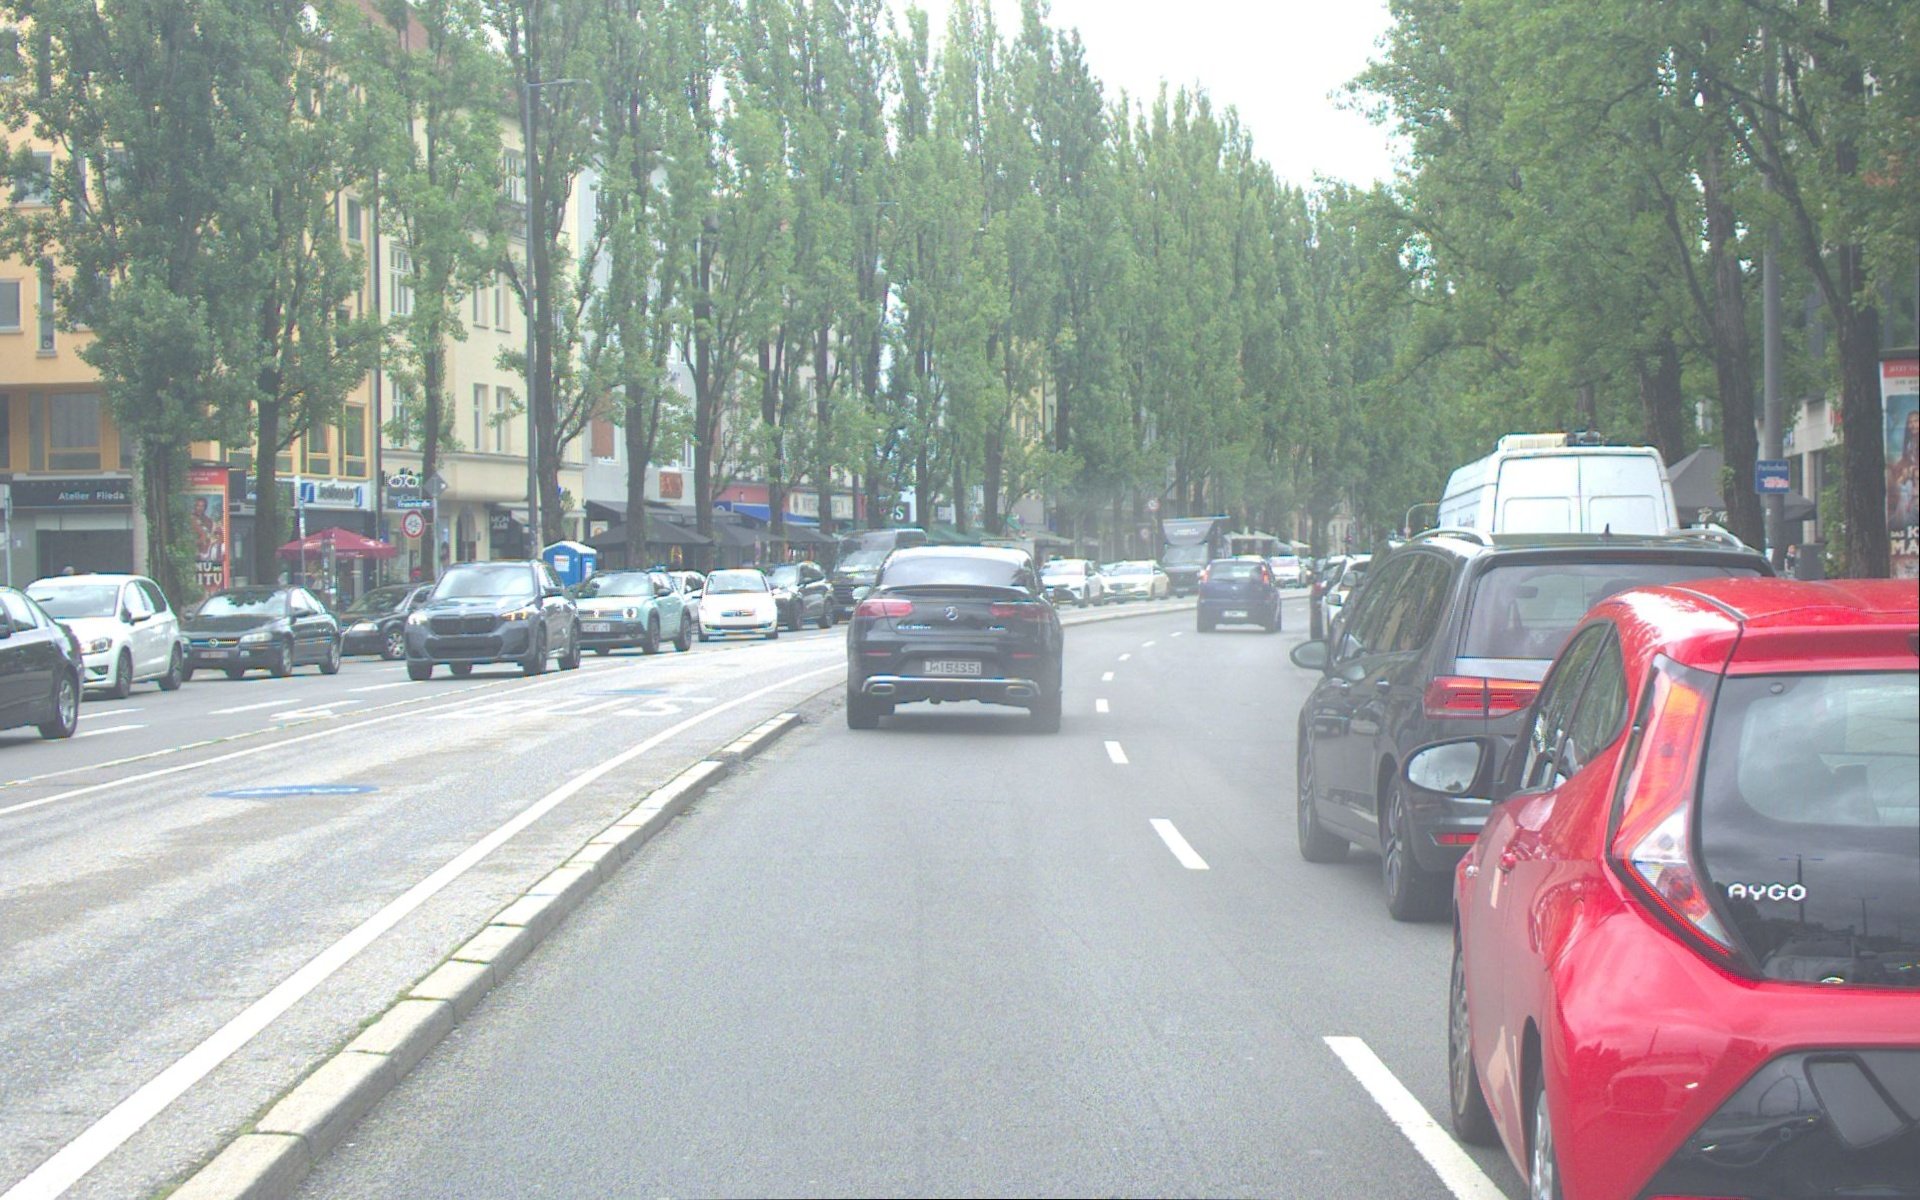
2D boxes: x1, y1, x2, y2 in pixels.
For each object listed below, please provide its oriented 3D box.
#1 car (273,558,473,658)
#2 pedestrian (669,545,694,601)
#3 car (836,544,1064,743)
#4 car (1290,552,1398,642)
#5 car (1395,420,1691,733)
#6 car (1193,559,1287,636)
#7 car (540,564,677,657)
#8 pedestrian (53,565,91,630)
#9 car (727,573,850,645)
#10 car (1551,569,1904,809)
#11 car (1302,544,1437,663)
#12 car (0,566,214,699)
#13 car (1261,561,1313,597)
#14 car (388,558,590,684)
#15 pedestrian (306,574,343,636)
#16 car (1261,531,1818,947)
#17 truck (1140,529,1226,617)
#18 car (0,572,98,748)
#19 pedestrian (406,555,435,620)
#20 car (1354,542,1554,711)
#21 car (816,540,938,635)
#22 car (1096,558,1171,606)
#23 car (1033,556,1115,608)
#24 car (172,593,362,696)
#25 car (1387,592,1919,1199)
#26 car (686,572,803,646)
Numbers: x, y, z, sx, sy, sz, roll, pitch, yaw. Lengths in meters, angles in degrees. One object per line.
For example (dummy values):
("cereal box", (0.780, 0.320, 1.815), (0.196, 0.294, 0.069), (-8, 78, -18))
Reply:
("car", (-11.062, 0.155, 65.047), (1.758, 1.809, 3.995), (1, 0, 24))
("pedestrian", (-9.297, -0.902, 114.693), (0.638, 1.855, 0.647), (-1, 1, 13))
("car", (-0.068, 0.334, 30.994), (1.880, 1.636, 4.583), (-1, 1, 0))
("car", (7.582, -0.058, 67.543), (1.925, 1.694, 4.648), (1, 0, 8))
("car", (5.493, -0.210, 33.098), (1.993, 2.732, 5.554), (1, 0, 1))
("car", (6.108, -0.056, 74.586), (1.760, 1.614, 3.745), (1, 0, 9))
("car", (-6.373, 0.167, 62.774), (1.817, 1.540, 4.000), (-3, 1, 3))
("pedestrian", (-19.708, -0.067, 76.336), (0.632, 1.430, 0.778), (-1, 1, -1))
("car", (-4.274, 0.211, 86.435), (2.019, 1.710, 4.980), (-1, 1, 10))
("car", (5.192, 0.542, 23.738), (1.725, 1.449, 4.147), (2, 1, 4))
("car", (6.083, 0.025, 51.414), (1.727, 1.680, 4.408), (0, 1, 3))
("car", (-11.170, 0.378, 44.165), (1.994, 1.595, 4.289), (-1, 1, 3))
("car", (15.566, -1.021, 163.649), (1.940, 1.636, 4.461), (-1, 1, 12))
("car", (-6.526, 0.255, 48.108), (1.994, 1.615, 4.413), (-2, 1, 3))
("pedestrian", (-16.196, 0.114, 87.665), (0.634, 1.556, 0.815), (-1, 1, 14))
("car", (2.433, 0.517, 15.444), (1.761, 1.608, 4.184), (0, 1, 0))
("truck", (8.857, -1.083, 135.910), (2.292, 3.311, 7.153), (-2, 0, 12))
("car", (-9.117, 0.533, 29.833), (1.836, 1.482, 4.734), (-1, 1, 3))
("pedestrian", (-14.608, -0.338, 93.031), (0.539, 1.741, 0.755), (0, 1, 12))
("car", (5.620, 0.257, 39.580), (1.929, 1.799, 4.779), (1, 1, 4))
("car", (-2.321, -0.389, 98.140), (2.171, 2.596, 6.061), (-1, 1, 11))
("car", (6.241, -0.668, 123.108), (1.994, 1.583, 5.193), (-2, 0, 10))
("car", (3.683, -0.603, 110.064), (1.910, 1.597, 4.353), (-1, 1, 11))
("car", (-10.504, 0.645, 52.399), (1.729, 1.404, 4.687), (-1, 1, 3))
("car", (1.944, 0.718, 7.633), (1.665, 1.441, 3.596), (1, 0, 2))
("car", (-4.840, 0.182, 77.755), (1.954, 1.584, 3.999), (-1, 1, 6))
